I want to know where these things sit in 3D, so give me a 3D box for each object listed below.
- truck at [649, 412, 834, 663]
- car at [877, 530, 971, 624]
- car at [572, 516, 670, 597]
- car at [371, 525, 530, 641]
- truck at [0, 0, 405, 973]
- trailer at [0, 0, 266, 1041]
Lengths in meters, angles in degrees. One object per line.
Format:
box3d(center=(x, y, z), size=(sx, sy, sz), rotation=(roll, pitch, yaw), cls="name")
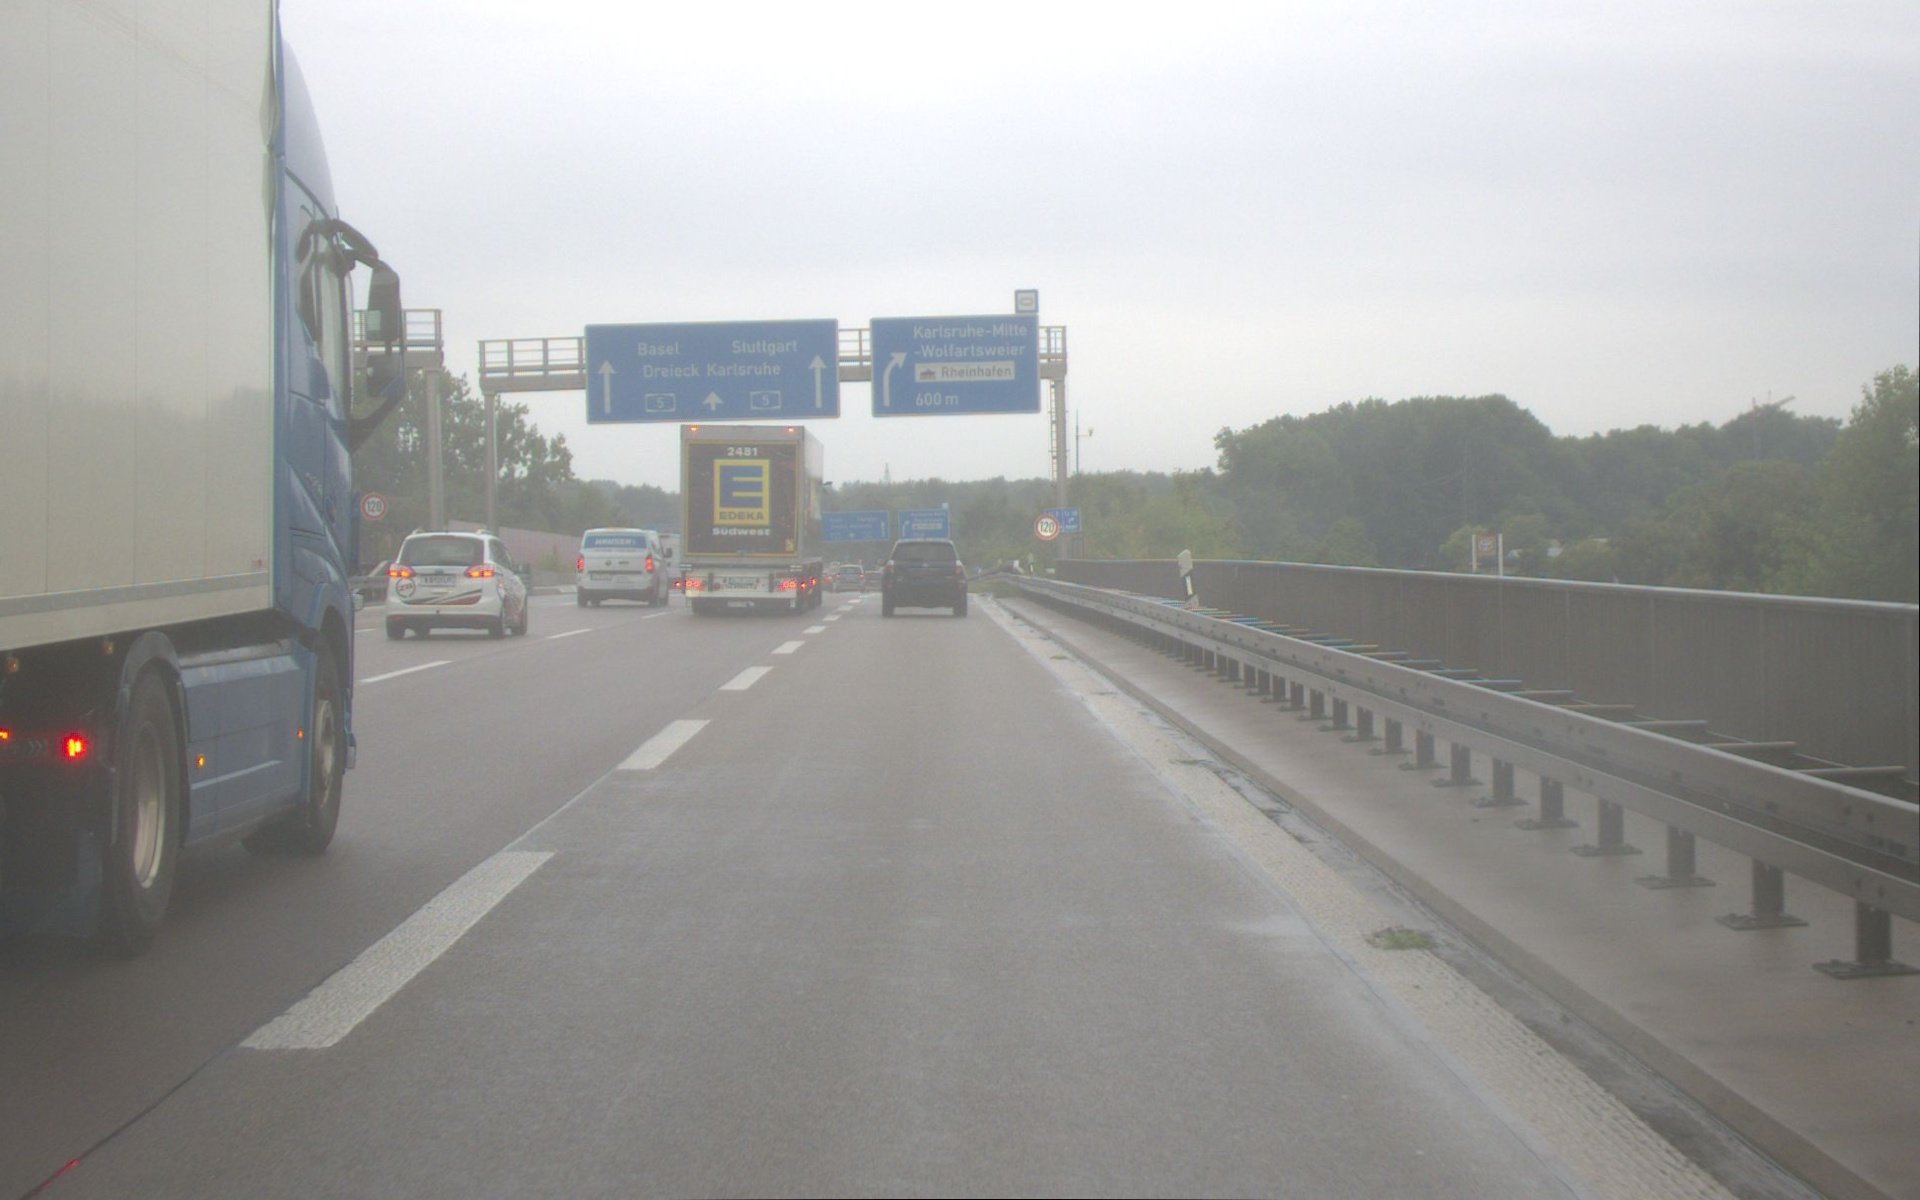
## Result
box3d(center=(-4.729, -1.310, 76.555), size=(3.533, 5.165, 9.893), rotation=(1, 0, -1), cls="truck")
box3d(center=(-0.750, -0.483, 74.174), size=(1.897, 1.943, 4.000), rotation=(1, 0, 1), cls="car")
box3d(center=(-8.399, -1.057, 85.414), size=(2.049, 1.943, 4.000), rotation=(1, 0, -1), cls="car")
box3d(center=(-7.905, -0.257, 53.632), size=(1.894, 1.718, 4.000), rotation=(1, 0, -1), cls="car")
box3d(center=(-3.971, -0.910, 14.356), size=(2.342, 4.143, 6.347), rotation=(0, 1, -1), cls="truck")
box3d(center=(-3.864, -0.755, 6.303), size=(2.342, 4.143, 14.828), rotation=(0, 1, -1), cls="trailer")
